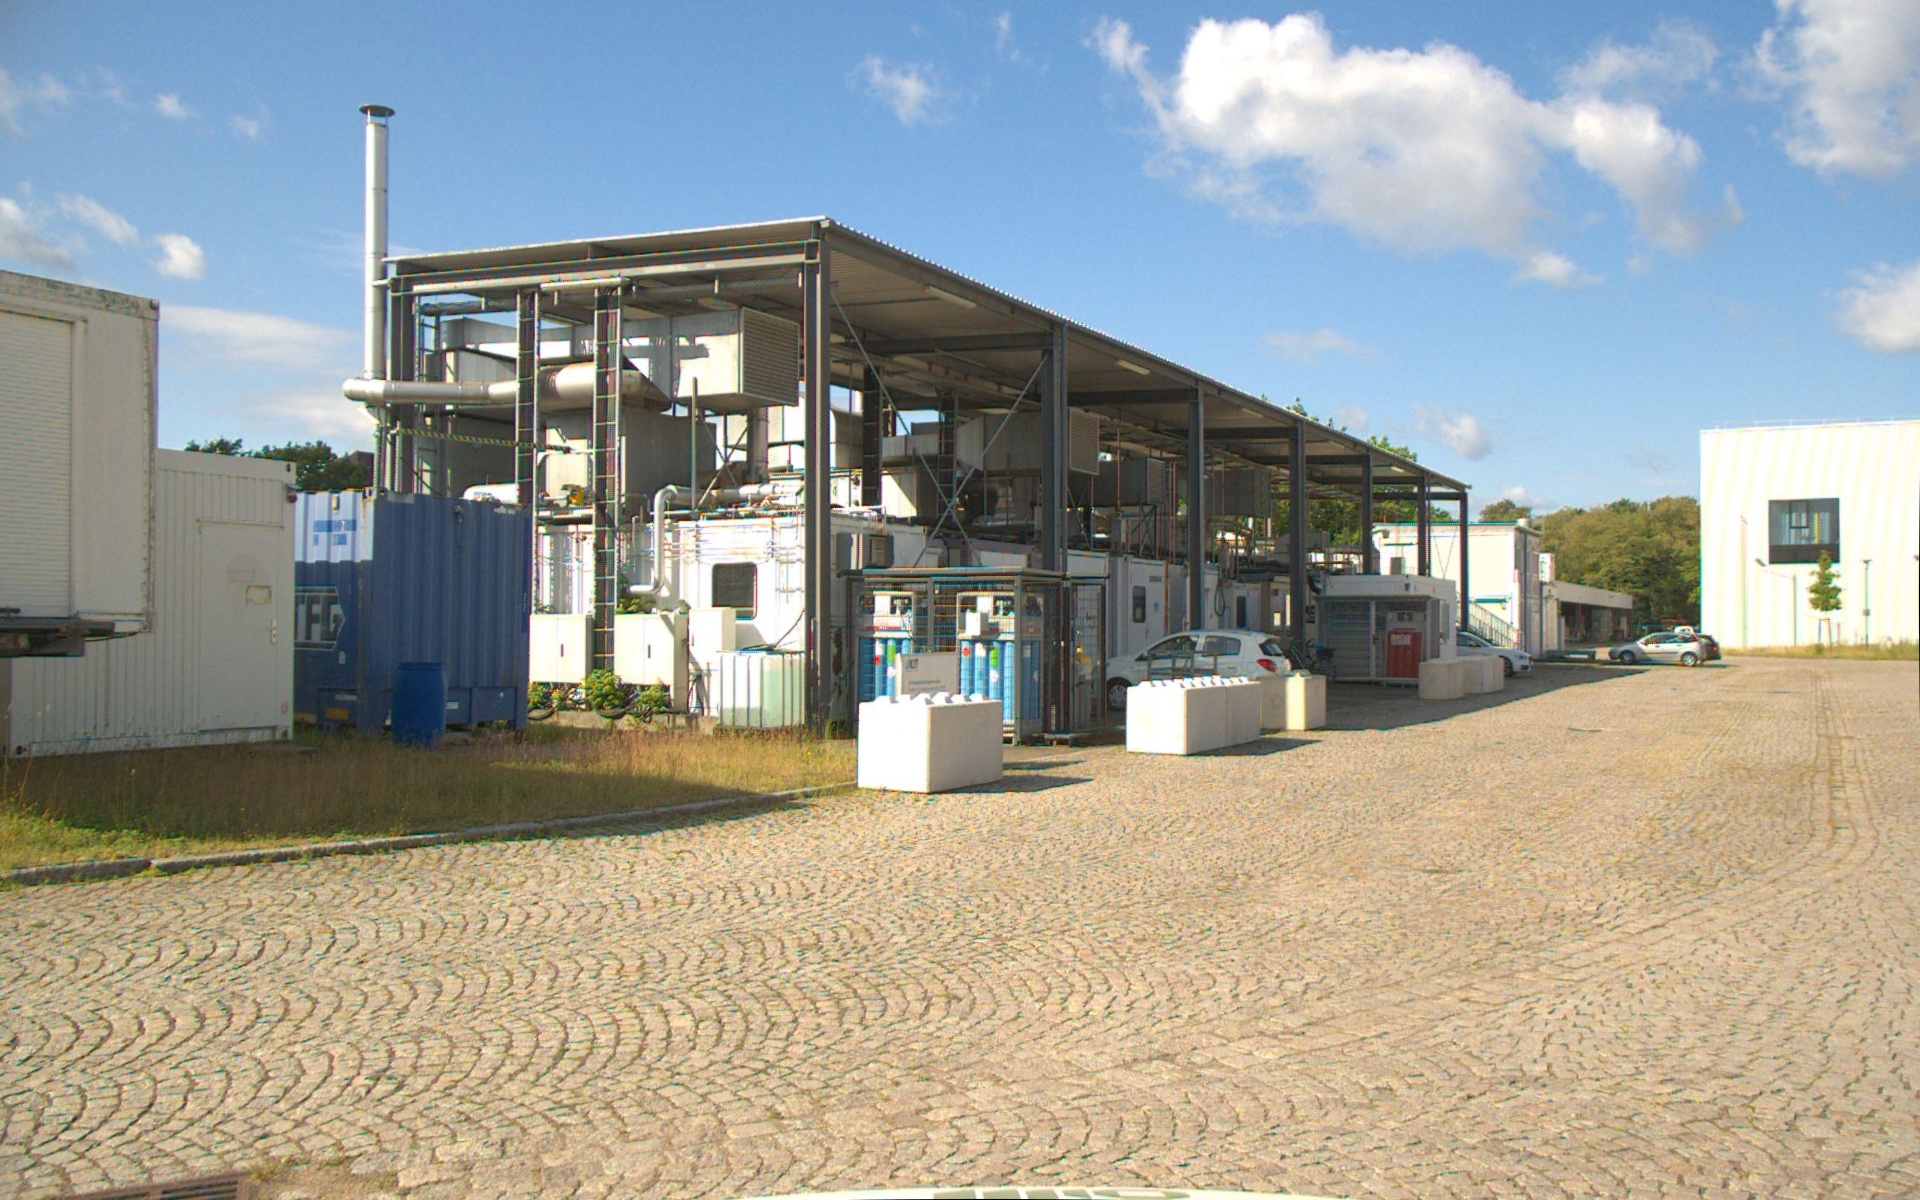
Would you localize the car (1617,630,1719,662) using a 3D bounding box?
[{"bbox_3d":[33.064,2.136,77.254,4.260,1.495,1.739,0,-1,27],"label":"car"}]

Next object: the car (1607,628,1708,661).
[{"bbox_3d":[31.393,1.990,74.483,4.093,1.428,1.739,0,-1,27],"label":"car"}]

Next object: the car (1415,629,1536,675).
[{"bbox_3d":[16.943,1.691,54.349,3.612,1.433,1.674,0,-1,25],"label":"car"}]

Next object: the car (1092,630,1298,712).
[{"bbox_3d":[4.253,1.244,29.899,3.393,1.400,1.610,0,-1,25],"label":"car"}]

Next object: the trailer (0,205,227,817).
[{"bbox_3d":[-10.708,-0.543,13.671,10.648,3.980,2.776,0,-1,30],"label":"trailer"}]

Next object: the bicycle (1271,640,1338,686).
[{"bbox_3d":[8.885,1.608,42.678,1.633,1.156,0.485,0,-2,27],"label":"bicycle"}]
